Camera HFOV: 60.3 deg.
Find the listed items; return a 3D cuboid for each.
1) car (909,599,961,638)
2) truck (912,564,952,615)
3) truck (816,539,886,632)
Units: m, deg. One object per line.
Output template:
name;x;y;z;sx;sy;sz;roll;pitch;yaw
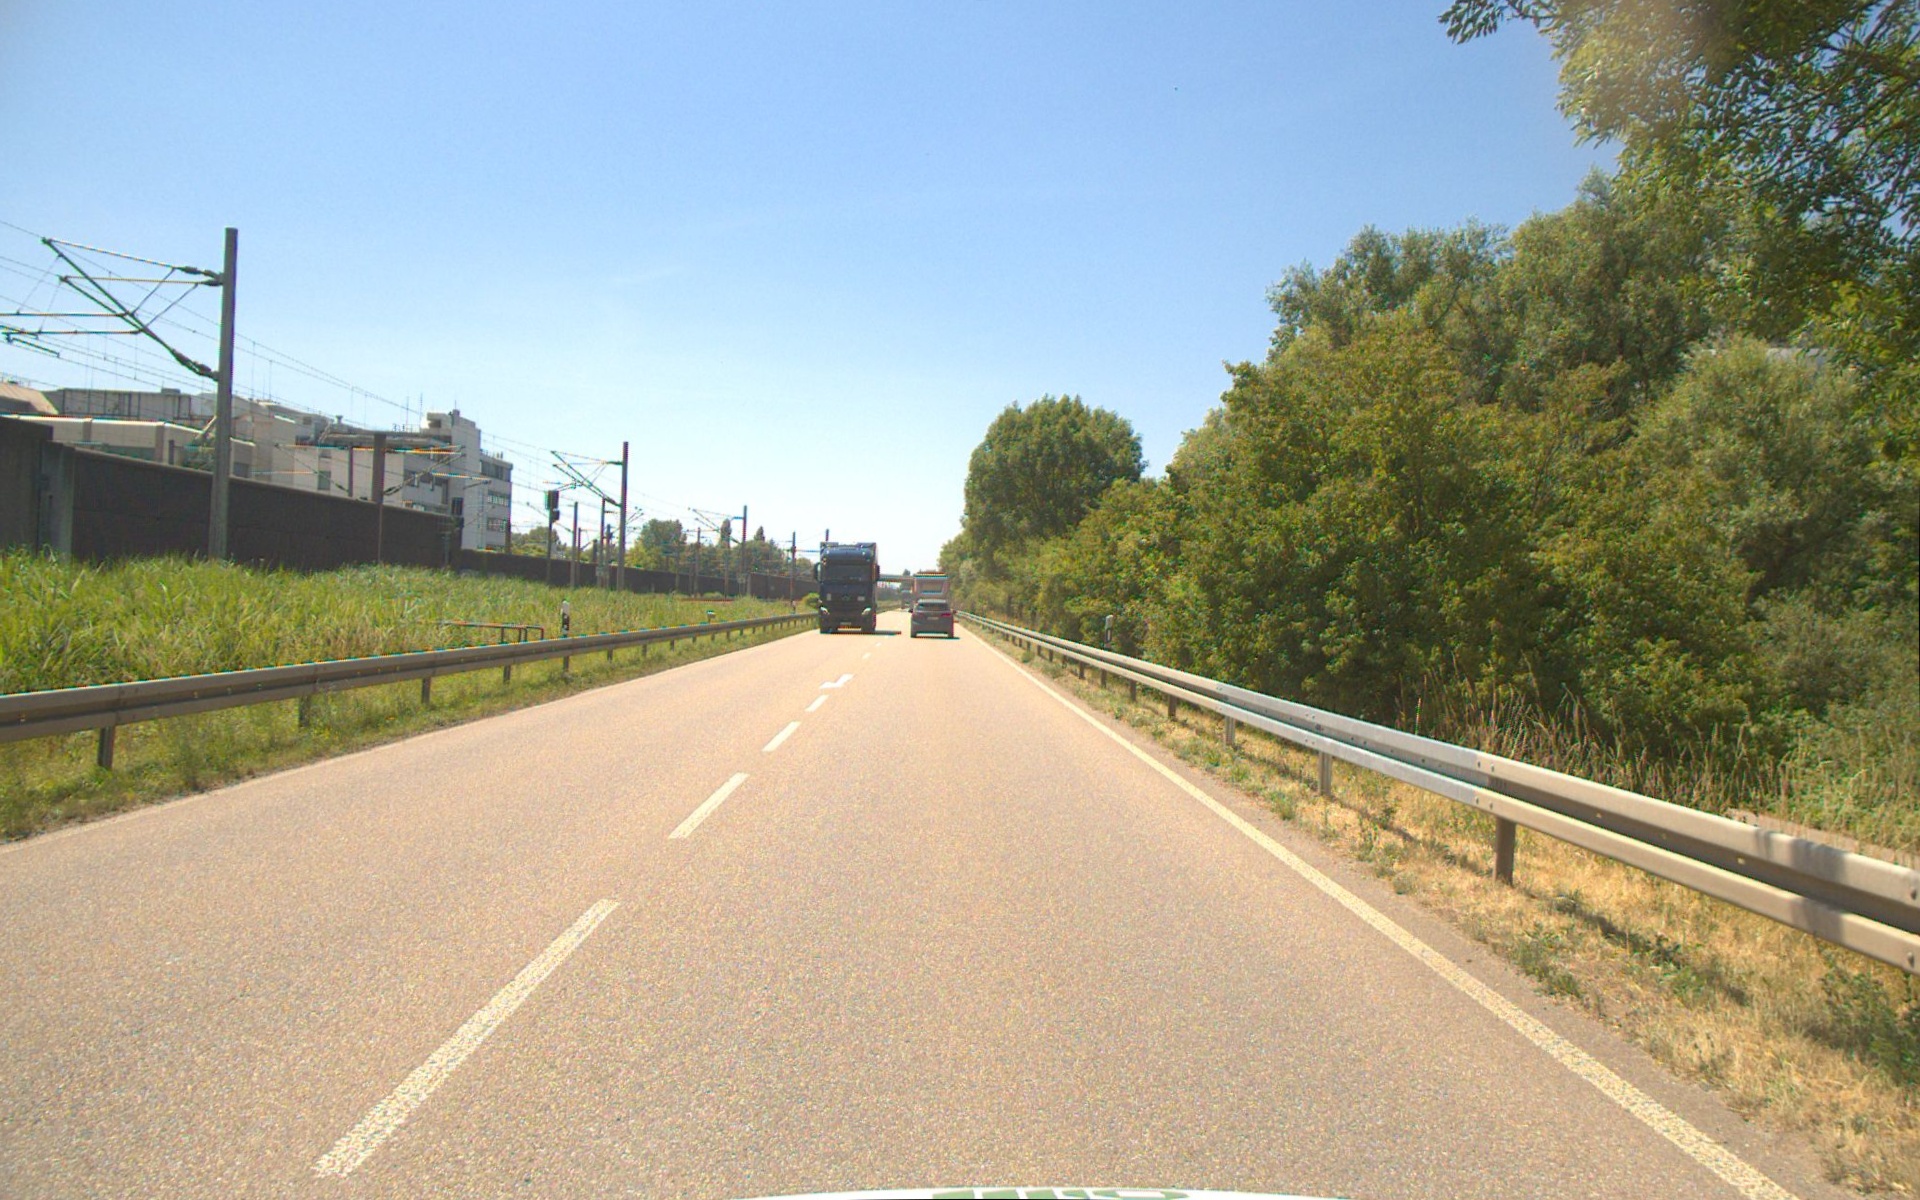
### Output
car;-1.079;0.743;68.934;1.954;1.534;3.997;1;0;-3
truck;-2.068;-0.709;120.321;2.714;3.485;10.816;1;0;-1
truck;-4.994;-0.662;77.425;2.740;4.047;10.497;-1;0;-1
